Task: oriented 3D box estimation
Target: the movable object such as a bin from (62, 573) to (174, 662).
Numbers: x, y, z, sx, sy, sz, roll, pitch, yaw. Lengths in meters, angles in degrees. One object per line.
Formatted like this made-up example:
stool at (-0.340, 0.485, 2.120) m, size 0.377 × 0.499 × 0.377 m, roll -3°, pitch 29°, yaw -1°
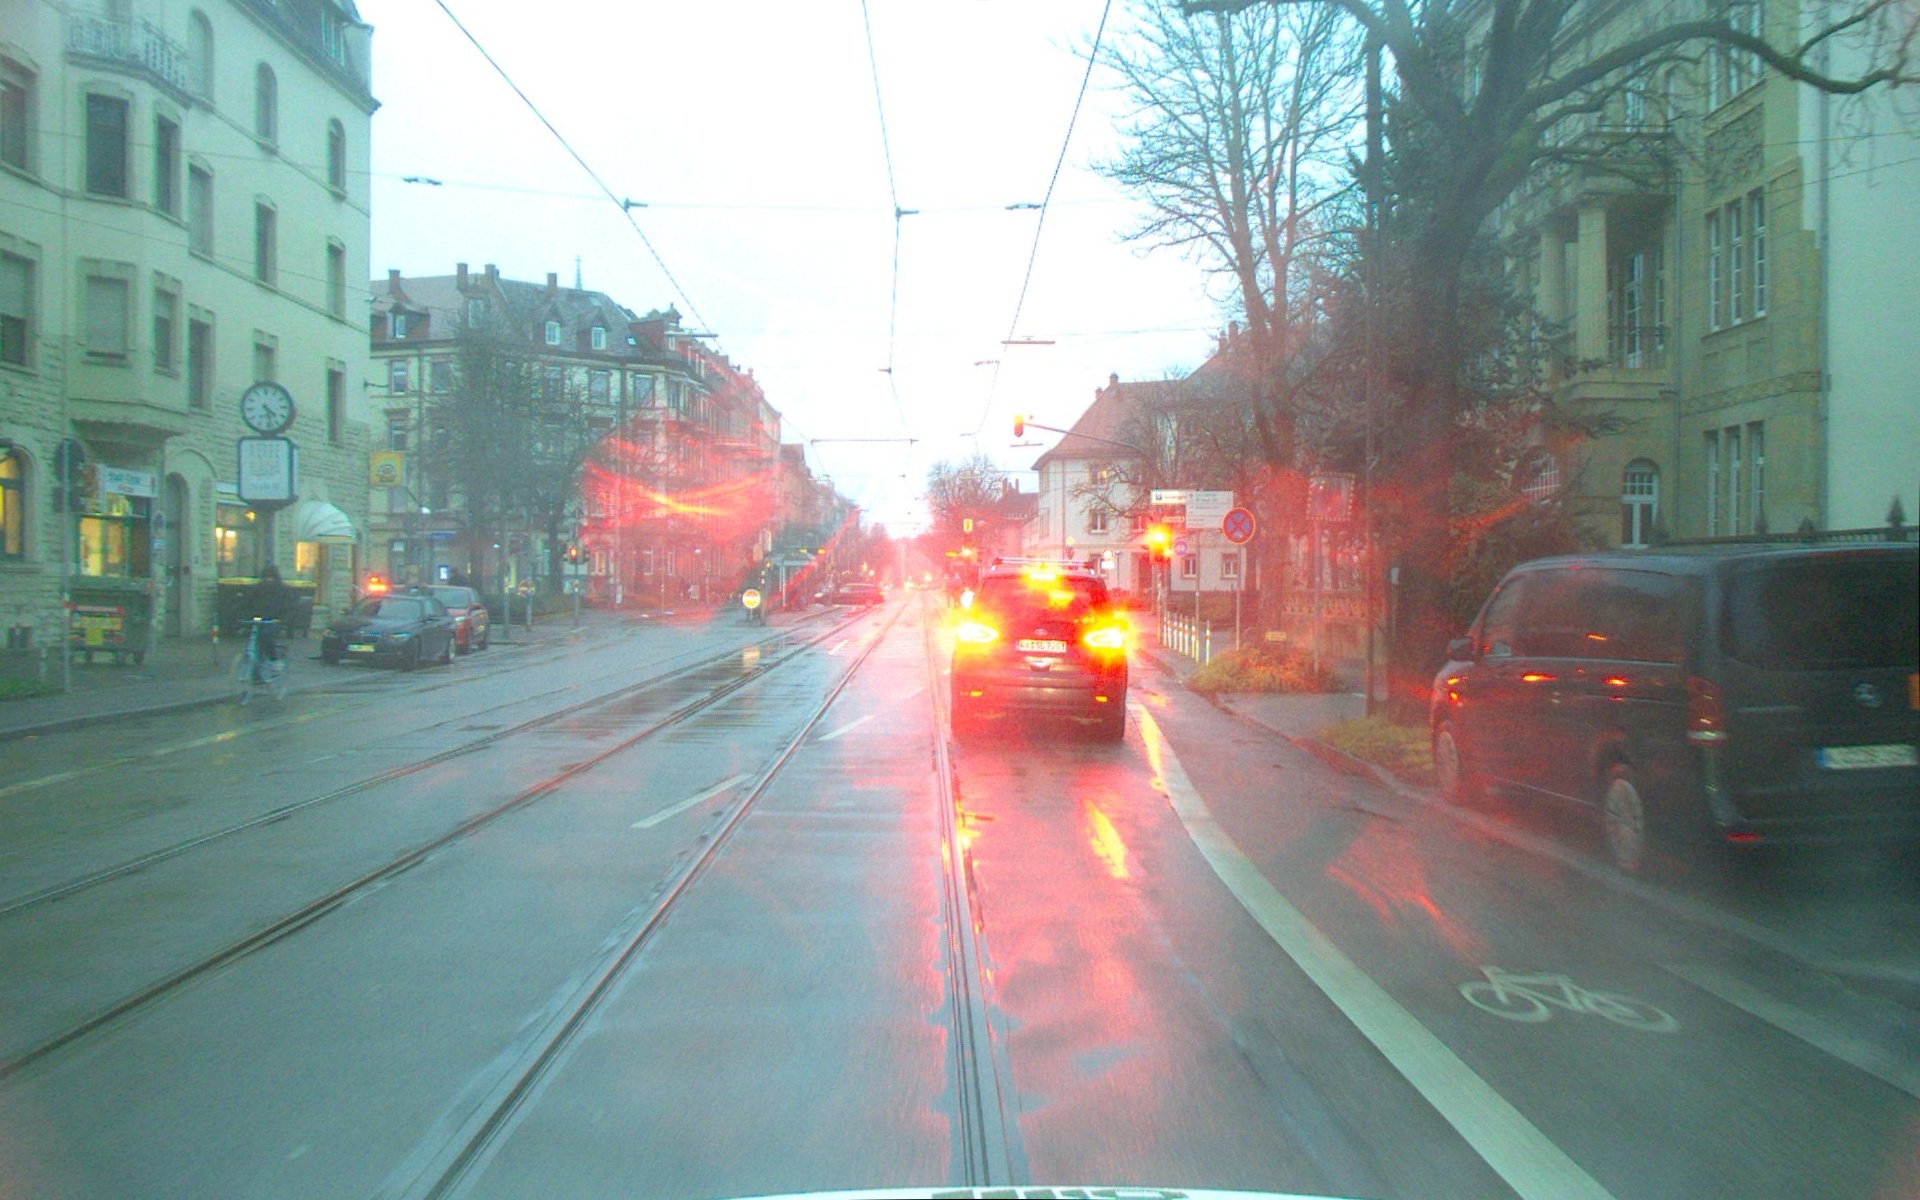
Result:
movable object such as a bin at (-14.186, 0.285, 27.909) m, size 1.241 × 1.445 × 1.250 m, roll 1°, pitch 0°, yaw -1°

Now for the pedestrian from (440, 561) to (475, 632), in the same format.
pedestrian at (-14.705, -0.105, 48.425) m, size 0.743 × 2.049 × 0.645 m, roll 1°, pitch 0°, yaw 35°

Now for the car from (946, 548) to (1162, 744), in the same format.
car at (0.971, 0.423, 18.559) m, size 2.060 × 1.848 × 4.661 m, roll 2°, pitch 1°, yaw 1°

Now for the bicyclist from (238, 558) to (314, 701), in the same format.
bicyclist at (-9.327, 0.393, 22.583) m, size 0.610 × 1.909 × 0.991 m, roll 0°, pitch 0°, yaw 1°

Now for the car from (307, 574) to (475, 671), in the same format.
car at (-11.560, 0.439, 33.942) m, size 1.947 × 1.674 × 4.628 m, roll 5°, pitch 0°, yaw -3°

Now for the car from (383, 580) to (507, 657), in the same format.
car at (-12.267, 0.404, 39.652) m, size 1.998 × 1.578 × 4.027 m, roll 4°, pitch 1°, yaw -6°

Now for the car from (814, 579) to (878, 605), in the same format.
car at (-7.262, -0.521, 105.425) m, size 3.930 × 1.623 × 1.705 m, roll 0°, pitch 0°, yaw -9°

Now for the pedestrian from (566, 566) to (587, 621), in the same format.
pedestrian at (-14.362, -0.252, 61.988) m, size 0.694 × 2.049 × 0.657 m, roll 0°, pitch 0°, yaw -20°

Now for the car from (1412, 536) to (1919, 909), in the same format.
car at (4.723, 0.594, 10.994) m, size 1.989 × 1.908 × 4.963 m, roll 0°, pitch 1°, yaw -1°

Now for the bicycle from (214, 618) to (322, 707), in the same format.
bicycle at (-9.340, 0.818, 22.398) m, size 0.610 × 1.112 × 1.948 m, roll 0°, pitch 1°, yaw 1°

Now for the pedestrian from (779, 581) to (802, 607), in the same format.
pedestrian at (-8.171, -0.280, 79.777) m, size 1.026 × 1.221 × 0.885 m, roll 1°, pitch 0°, yaw 0°

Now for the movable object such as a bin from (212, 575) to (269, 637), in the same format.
movable object such as a bin at (-16.781, 0.135, 38.573) m, size 0.880 × 1.401 × 1.006 m, roll 1°, pitch 0°, yaw -1°

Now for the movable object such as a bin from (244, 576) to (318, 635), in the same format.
movable object such as a bin at (-16.355, 0.118, 39.884) m, size 1.267 × 1.391 × 1.252 m, roll 1°, pitch 0°, yaw -1°
